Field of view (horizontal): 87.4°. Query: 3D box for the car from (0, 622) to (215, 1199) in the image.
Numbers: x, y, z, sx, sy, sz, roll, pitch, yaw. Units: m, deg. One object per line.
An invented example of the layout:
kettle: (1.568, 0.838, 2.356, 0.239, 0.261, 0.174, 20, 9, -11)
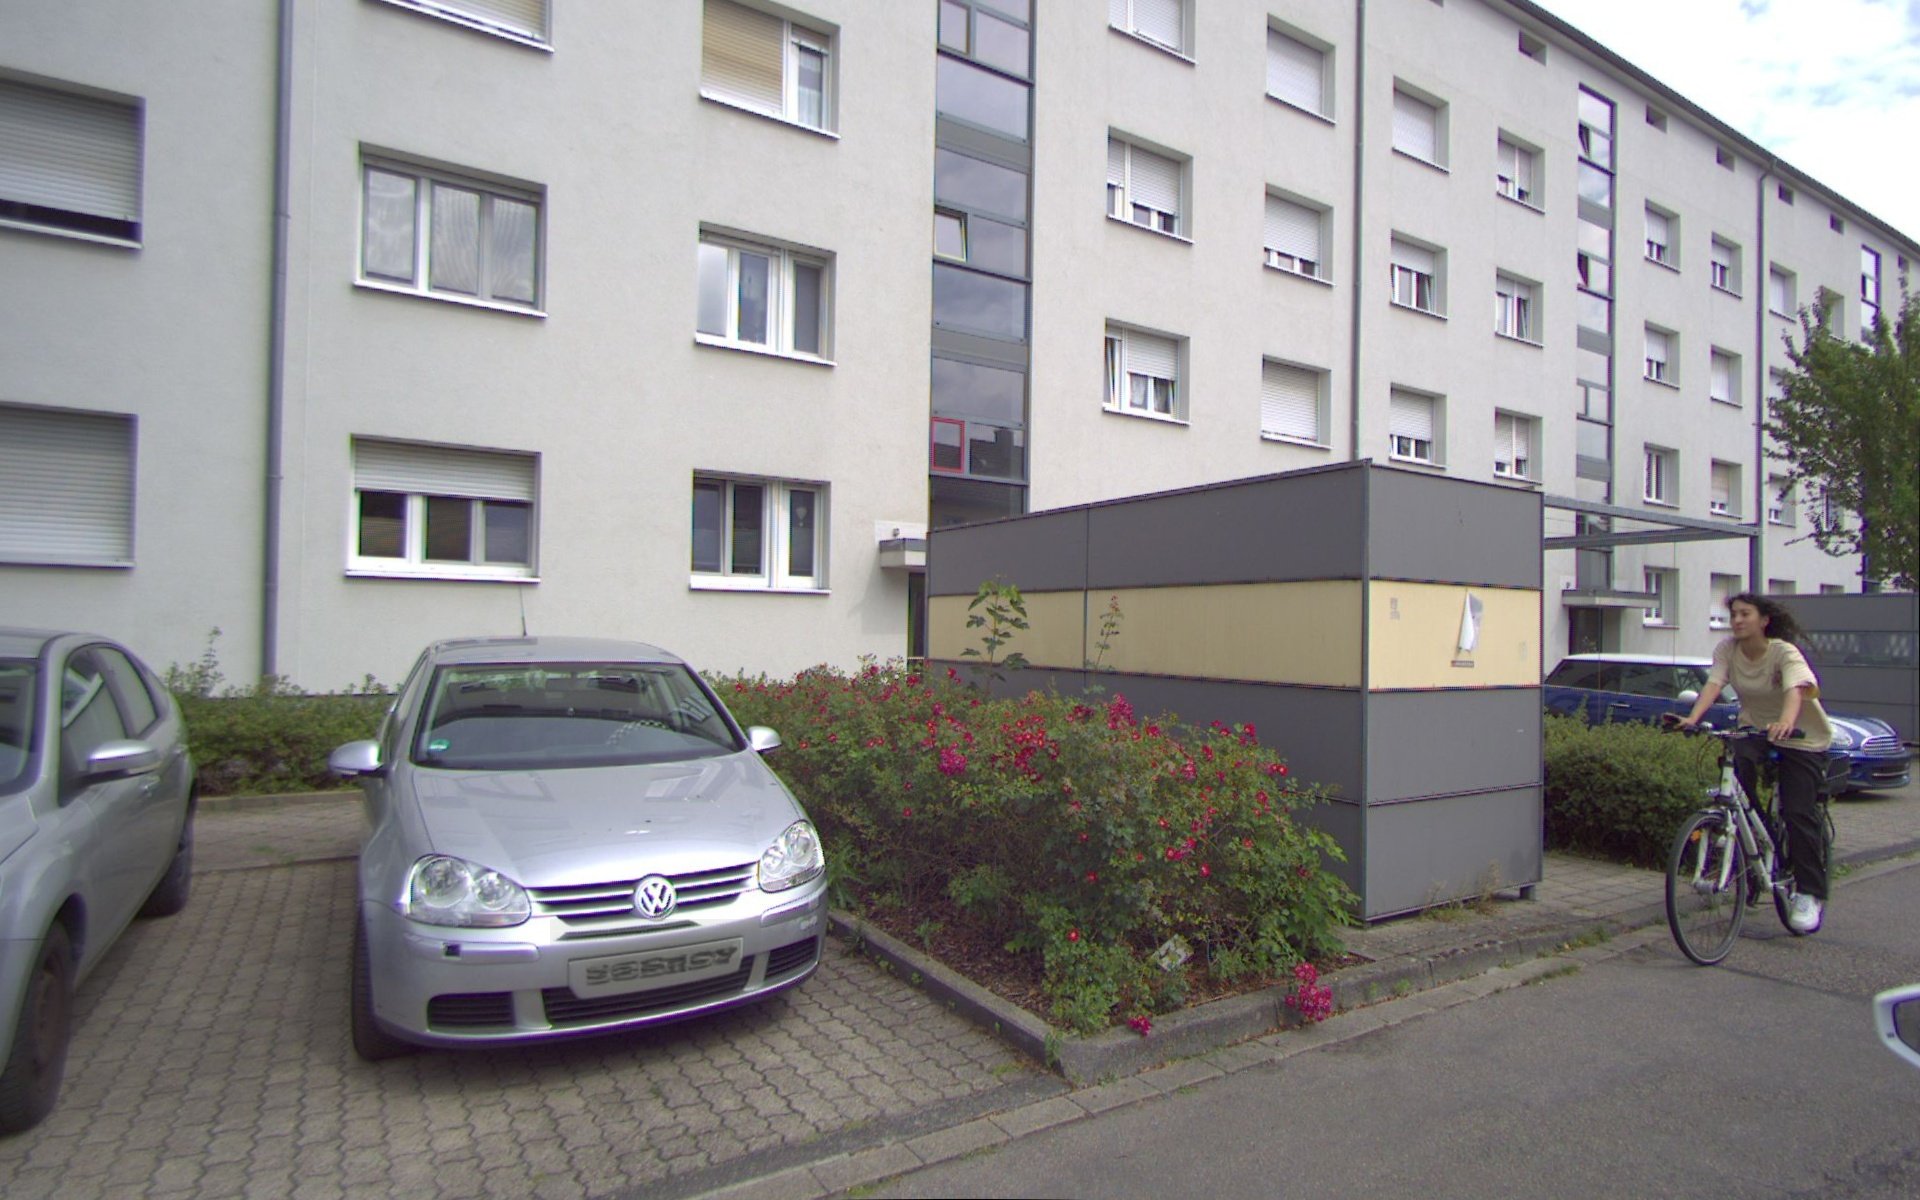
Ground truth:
car: (-4.083, 0.853, 3.650, 1.762, 1.525, 4.031, 2, -3, -31)

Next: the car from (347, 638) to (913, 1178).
car: (-1.960, 0.942, 4.985, 1.762, 1.483, 4.031, 2, -3, -31)

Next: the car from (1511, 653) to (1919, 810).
car: (8.642, 1.376, 11.702, 1.632, 1.480, 3.622, 2, -3, -27)

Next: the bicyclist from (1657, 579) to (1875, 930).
bicyclist: (4.049, 0.728, 5.059, 0.758, 1.601, 0.594, 2, -3, -30)

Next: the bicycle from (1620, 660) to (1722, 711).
bicycle: (15.637, 1.869, 22.122, 1.775, 1.038, 0.479, 0, -1, 18)

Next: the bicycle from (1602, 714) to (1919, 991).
bicycle: (4.115, 1.167, 5.081, 2.018, 1.090, 0.594, 2, -3, -30)
